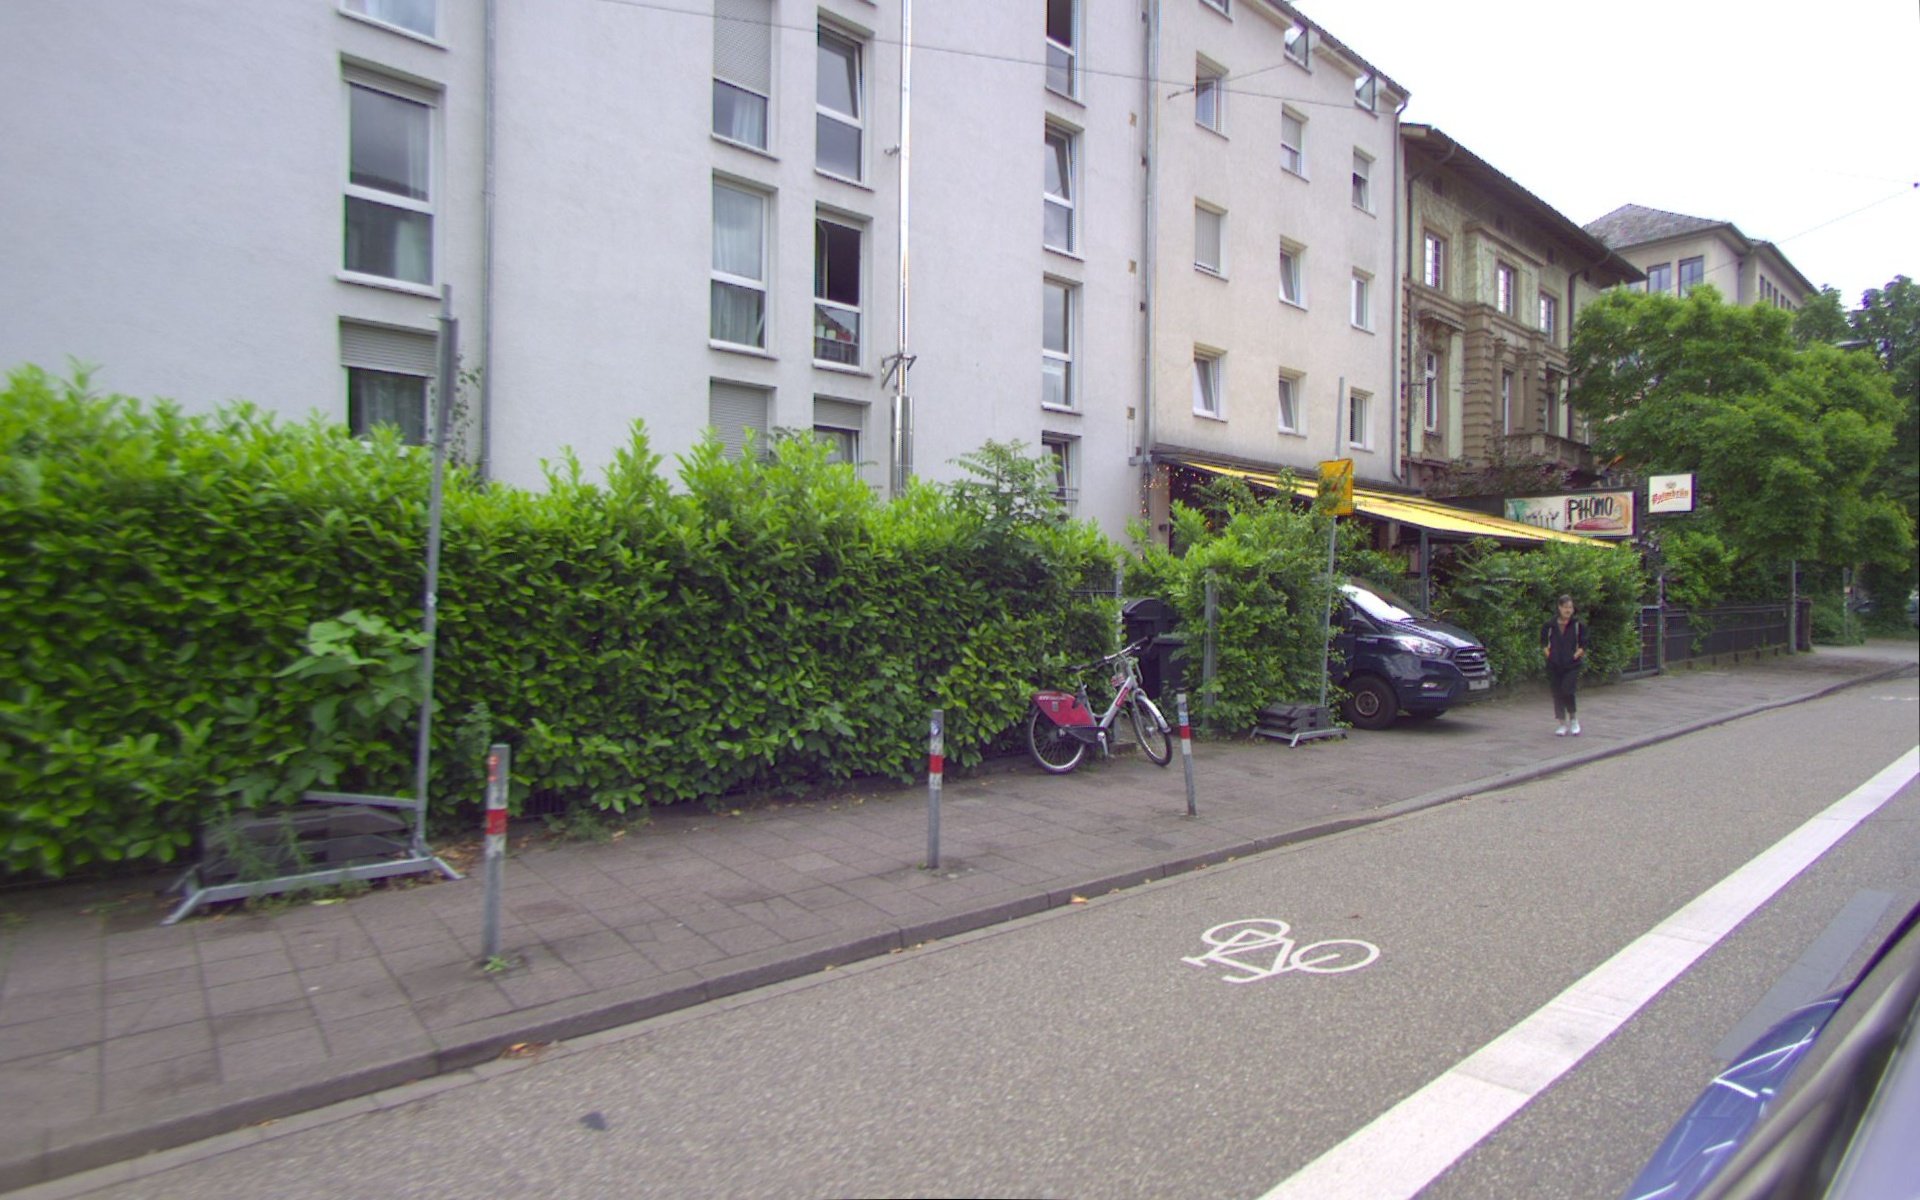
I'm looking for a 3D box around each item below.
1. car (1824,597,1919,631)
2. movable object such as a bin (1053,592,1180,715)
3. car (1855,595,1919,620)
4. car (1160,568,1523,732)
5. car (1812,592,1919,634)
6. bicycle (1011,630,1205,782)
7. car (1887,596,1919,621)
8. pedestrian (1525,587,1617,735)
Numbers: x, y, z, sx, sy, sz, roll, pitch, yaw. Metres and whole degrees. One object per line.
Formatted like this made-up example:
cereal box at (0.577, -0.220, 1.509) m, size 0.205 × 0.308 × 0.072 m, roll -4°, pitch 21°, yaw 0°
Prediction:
car at (45.548, 0.679, 49.960) m, size 3.943 × 1.558 × 1.856 m, roll 1°, pitch 0°, yaw 15°
movable object such as a bin at (1.949, 0.621, 12.666) m, size 1.001 × 1.436 × 1.229 m, roll 0°, pitch 0°, yaw -38°
car at (55.445, 0.441, 59.161) m, size 4.272 × 1.420 × 1.745 m, roll 1°, pitch 0°, yaw 17°
car at (4.966, 0.520, 13.713) m, size 1.790 × 1.831 × 4.292 m, roll 0°, pitch 1°, yaw -38°
car at (43.145, 0.585, 47.944) m, size 3.791 × 1.843 × 1.796 m, roll 1°, pitch 0°, yaw 19°
bicycle at (1.322, 0.866, 8.842) m, size 1.780 × 1.141 × 0.634 m, roll 1°, pitch 2°, yaw -41°
car at (61.565, 0.547, 63.792) m, size 4.285 × 1.571 × 1.733 m, roll 1°, pitch 0°, yaw 28°
pedestrian at (7.439, 0.713, 12.313) m, size 0.943 × 1.691 × 0.624 m, roll 0°, pitch 3°, yaw -41°
